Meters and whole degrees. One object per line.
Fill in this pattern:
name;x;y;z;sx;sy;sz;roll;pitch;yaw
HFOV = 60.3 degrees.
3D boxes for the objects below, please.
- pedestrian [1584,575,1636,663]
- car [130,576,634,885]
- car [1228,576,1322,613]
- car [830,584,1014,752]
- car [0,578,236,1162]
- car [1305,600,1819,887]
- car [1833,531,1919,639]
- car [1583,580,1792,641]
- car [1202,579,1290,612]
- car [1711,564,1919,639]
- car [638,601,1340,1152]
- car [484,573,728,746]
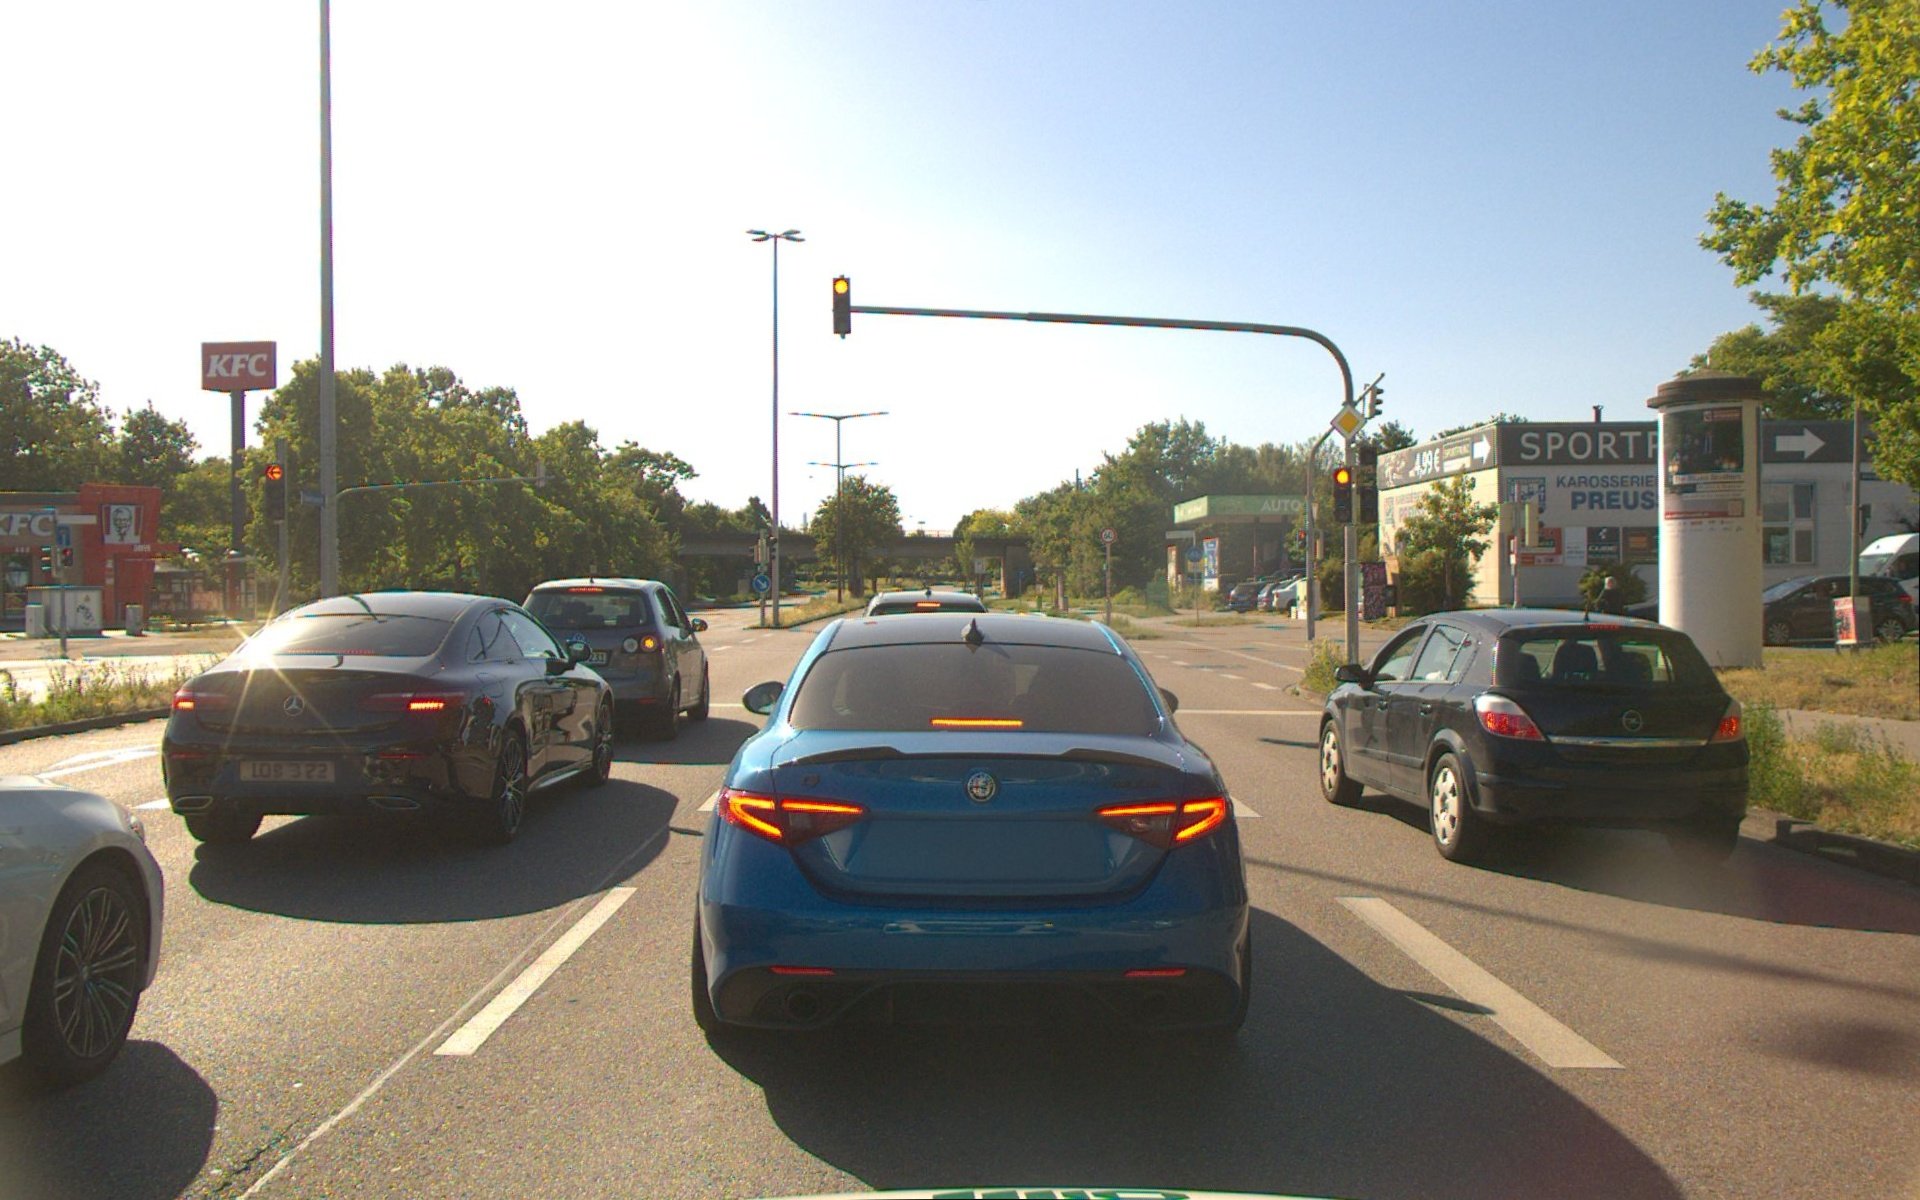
pedestrian;12.668;0.365;32.244;0.800;1.698;0.514;1;-1;-1
car;-3.415;0.661;10.778;1.775;1.578;4.542;1;0;-1
car;14.271;-0.259;75.114;3.905;1.579;2.000;1;0;0
car;-0.324;0.634;17.120;1.669;1.523;3.719;1;0;1
car;-3.366;0.701;3.363;1.775;1.512;4.596;0;0;0
car;3.612;0.750;10.839;1.699;1.467;4.370;1;0;-1
car;26.234;-0.423;43.242;5.715;2.719;2.000;-1;-1;0
car;18.969;0.269;43.257;4.722;1.493;1.758;1;0;-3
car;14.430;-0.219;83.618;3.925;1.579;1.990;1;0;-18
car;20.486;0.044;39.657;4.219;1.678;1.637;1;0;-2
car;0.107;0.752;6.314;1.870;1.447;3.719;1;0;1
car;-3.591;0.567;17.562;1.776;1.578;4.351;1;0;-2
